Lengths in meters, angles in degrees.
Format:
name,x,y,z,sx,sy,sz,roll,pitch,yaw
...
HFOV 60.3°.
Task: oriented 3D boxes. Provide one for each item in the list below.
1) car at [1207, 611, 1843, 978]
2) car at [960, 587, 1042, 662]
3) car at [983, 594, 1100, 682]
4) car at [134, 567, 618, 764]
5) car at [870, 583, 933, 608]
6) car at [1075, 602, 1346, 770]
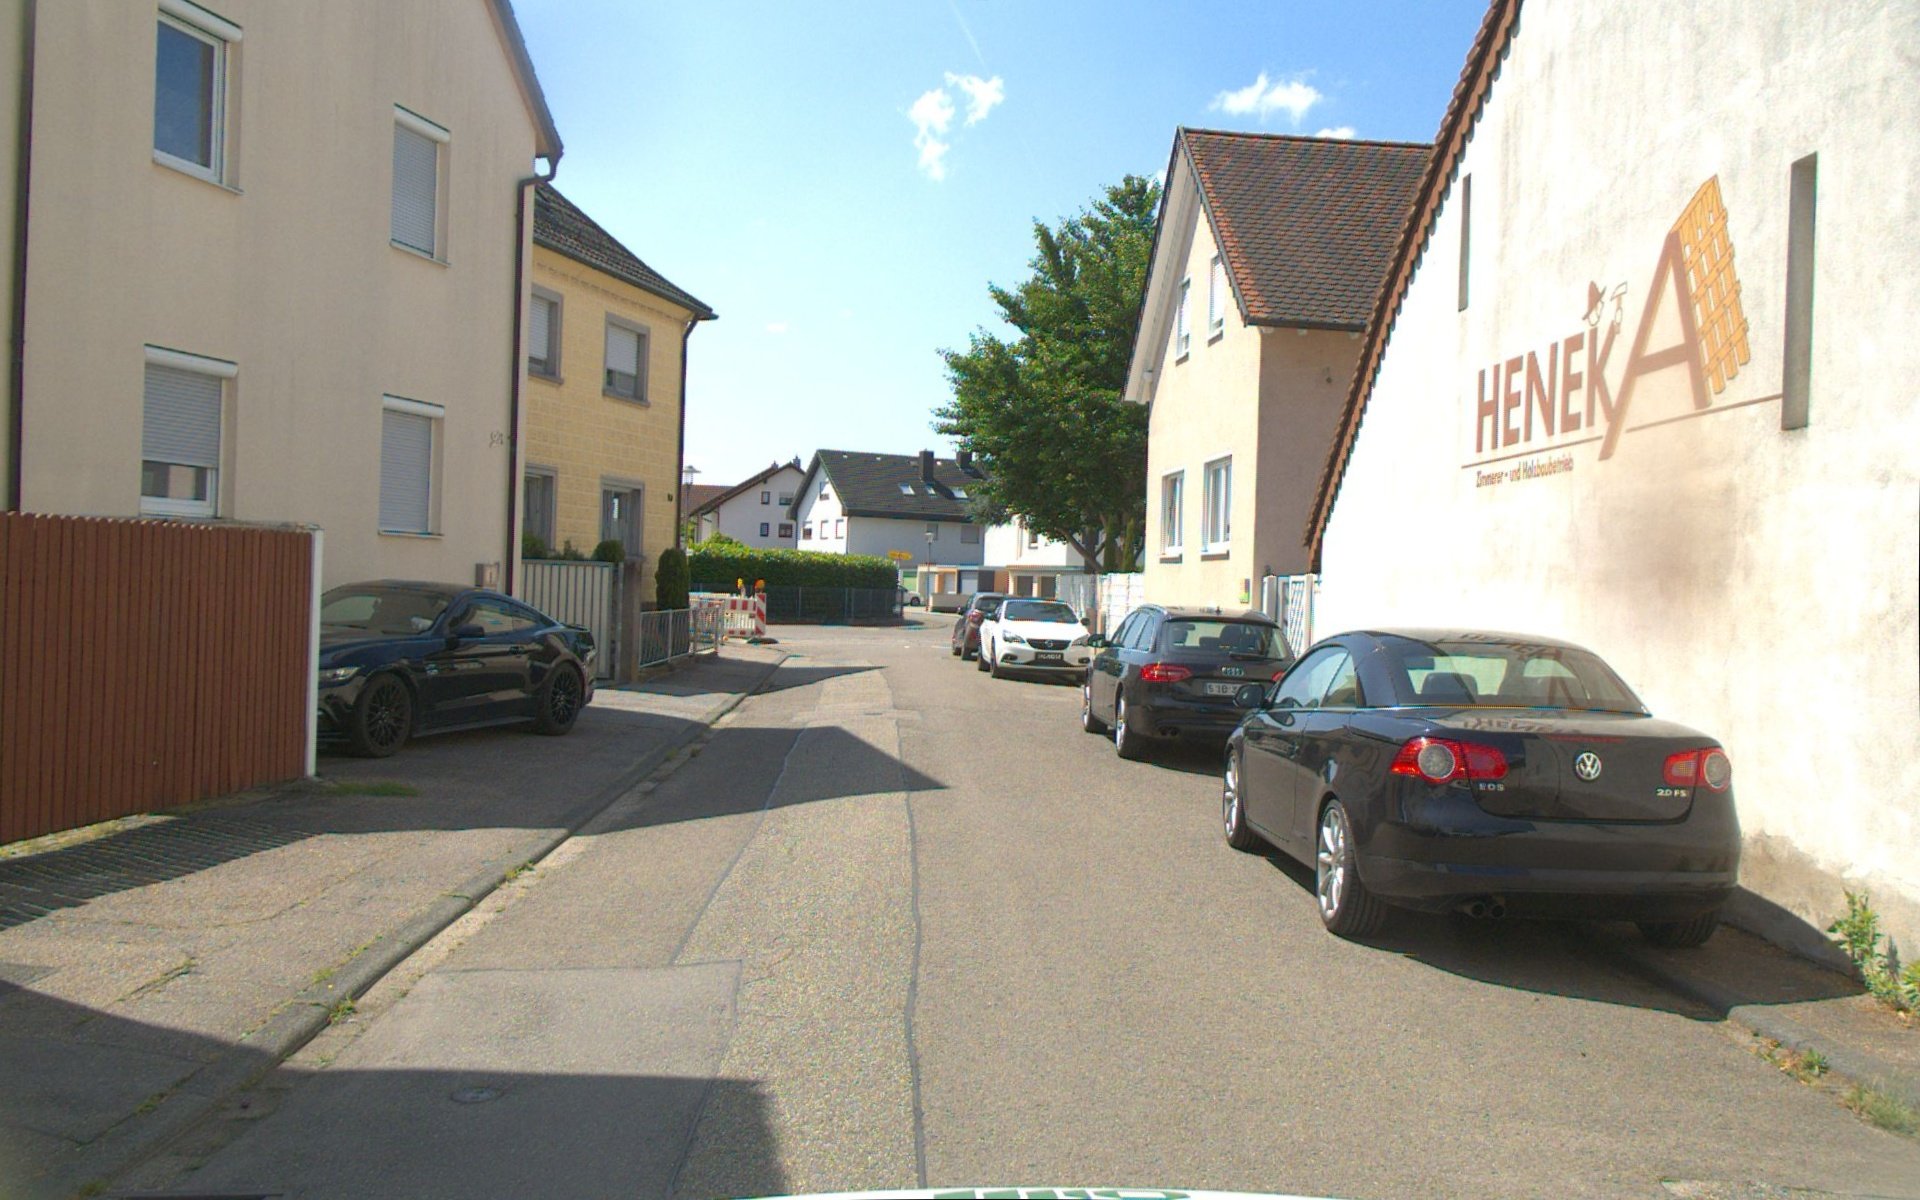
name,x,y,z,sx,sy,sz,roll,pitch,yaw
car,2.644,0.811,8.966,1.857,1.389,4.413,2,0,-1
car,0.882,0.527,37.915,1.677,1.559,4.035,2,0,-1
car,1.442,0.652,31.054,1.857,1.453,4.736,2,0,-1
car,-4.817,0.511,14.452,1.732,1.373,4.472,2,0,15
car,-3.674,-0.298,103.503,3.554,1.433,1.770,2,0,-26
car,2.381,0.763,16.962,1.857,1.389,4.735,2,0,-2
